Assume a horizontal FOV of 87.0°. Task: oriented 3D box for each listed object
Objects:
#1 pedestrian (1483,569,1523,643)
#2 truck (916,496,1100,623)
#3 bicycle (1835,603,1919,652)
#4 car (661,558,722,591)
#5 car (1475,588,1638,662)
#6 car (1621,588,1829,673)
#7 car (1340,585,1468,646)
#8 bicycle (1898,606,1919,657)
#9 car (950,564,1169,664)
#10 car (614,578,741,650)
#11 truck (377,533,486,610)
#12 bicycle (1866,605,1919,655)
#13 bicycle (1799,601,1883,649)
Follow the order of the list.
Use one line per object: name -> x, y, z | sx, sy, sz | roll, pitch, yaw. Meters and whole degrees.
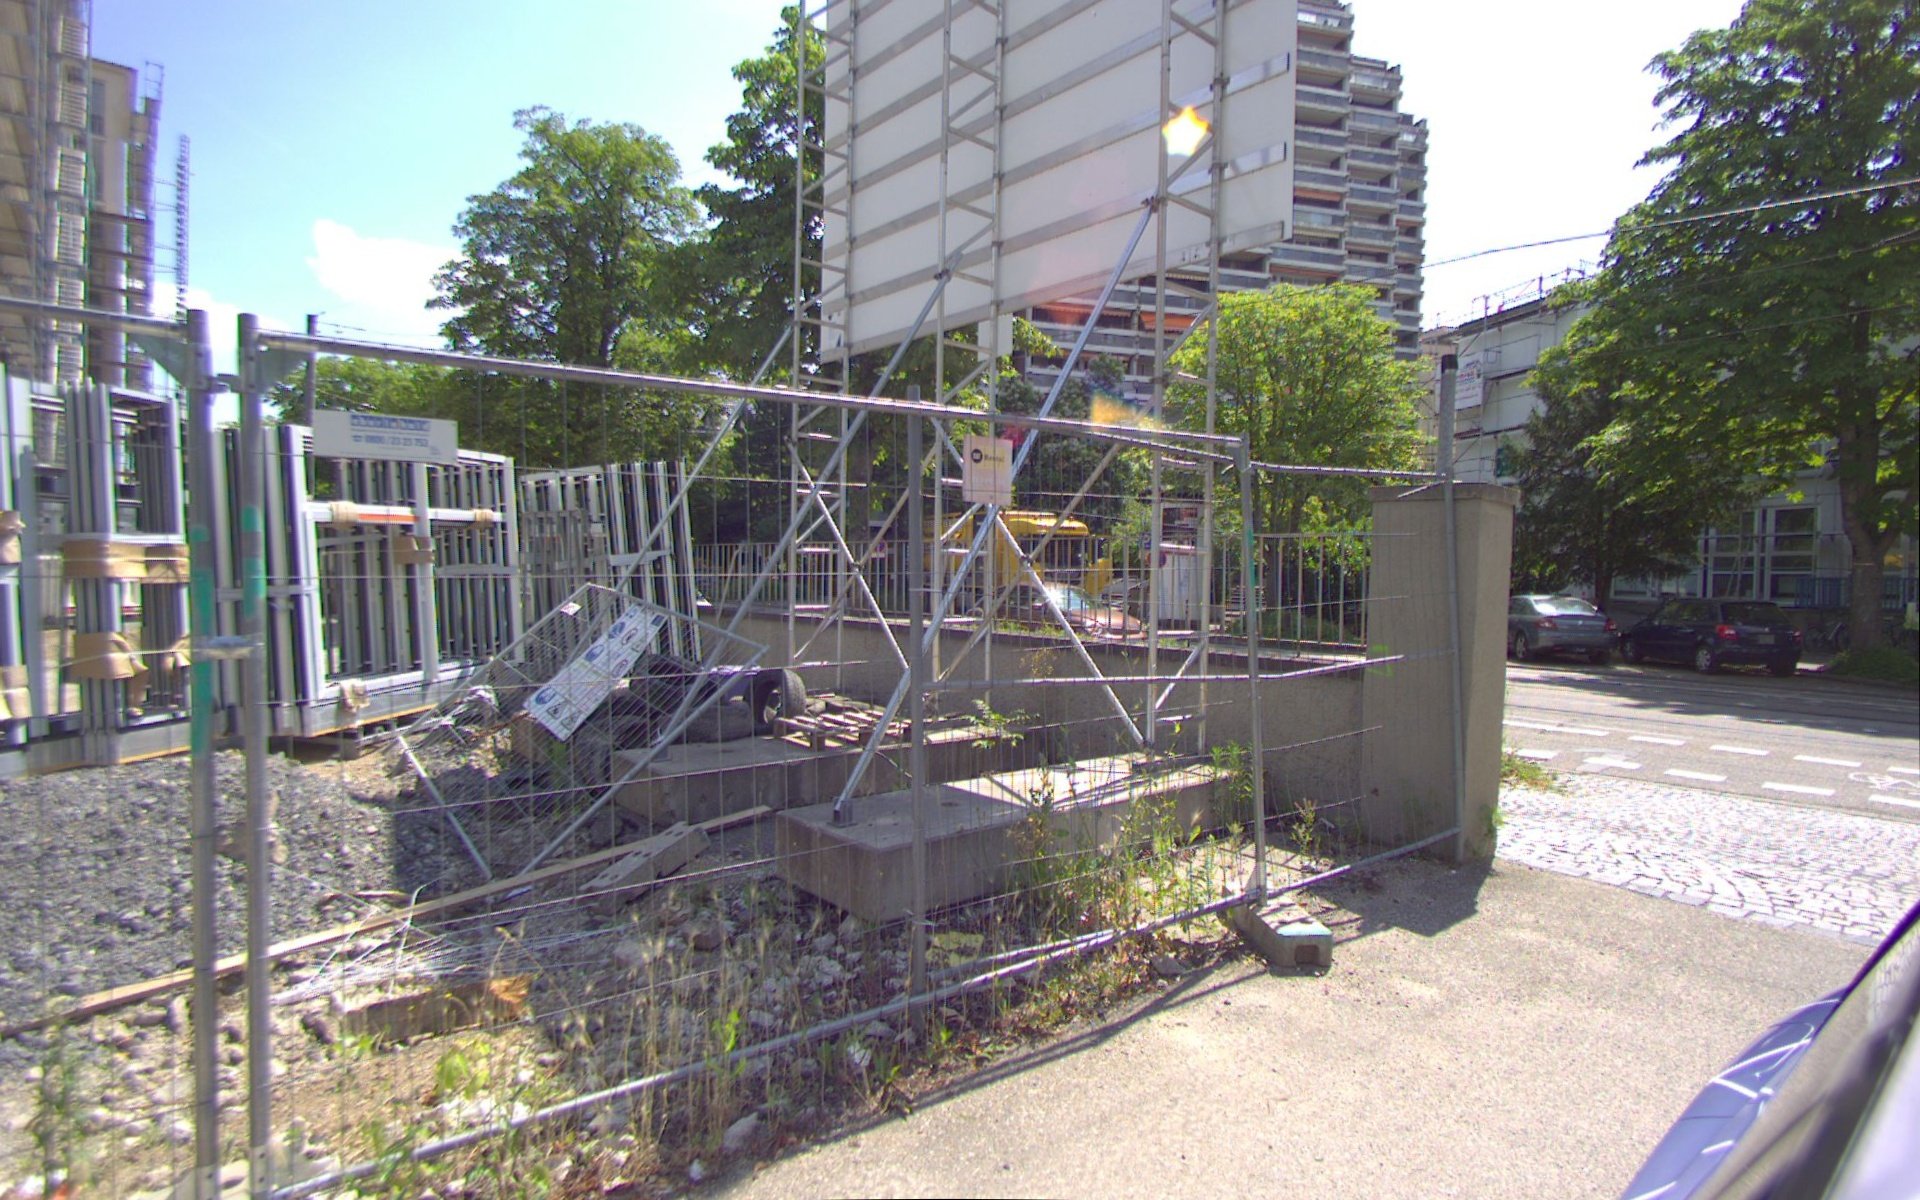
pedestrian -> 14.132, 0.162, 26.347 | 0.701, 1.898, 0.578 | 1, 0, -27
truck -> 1.410, -1.423, 37.483 | 2.694, 4.056, 9.764 | 0, 1, -24
bicycle -> 22.632, 0.674, 24.942 | 1.887, 1.144, 0.570 | 1, 1, -12
car -> -15.742, -1.495, 59.541 | 1.807, 1.816, 3.986 | 2, 1, 12
car -> 13.395, 0.489, 23.024 | 1.790, 1.481, 4.012 | 1, 1, 9
car -> 15.516, 0.553, 20.772 | 1.620, 1.535, 3.573 | 1, 1, 3
car -> 11.177, 0.335, 25.771 | 1.600, 1.390, 4.020 | 1, 1, 3
bicycle -> 22.852, 0.745, 23.436 | 1.904, 1.144, 0.569 | 1, 1, -9
car -> 1.834, 0.187, 19.617 | 1.964, 1.710, 3.997 | 1, 1, -39
car -> -6.452, 0.265, 22.877 | 1.592, 1.458, 3.583 | 1, 1, -36
truck -> -19.000, -1.022, 36.230 | 1.992, 2.516, 5.861 | 1, 1, -43
bicycle -> 22.755, 0.712, 24.179 | 1.888, 1.144, 0.569 | 1, 1, -9
bicycle -> 22.355, 0.635, 25.676 | 1.887, 1.144, 0.570 | 1, 1, -12
